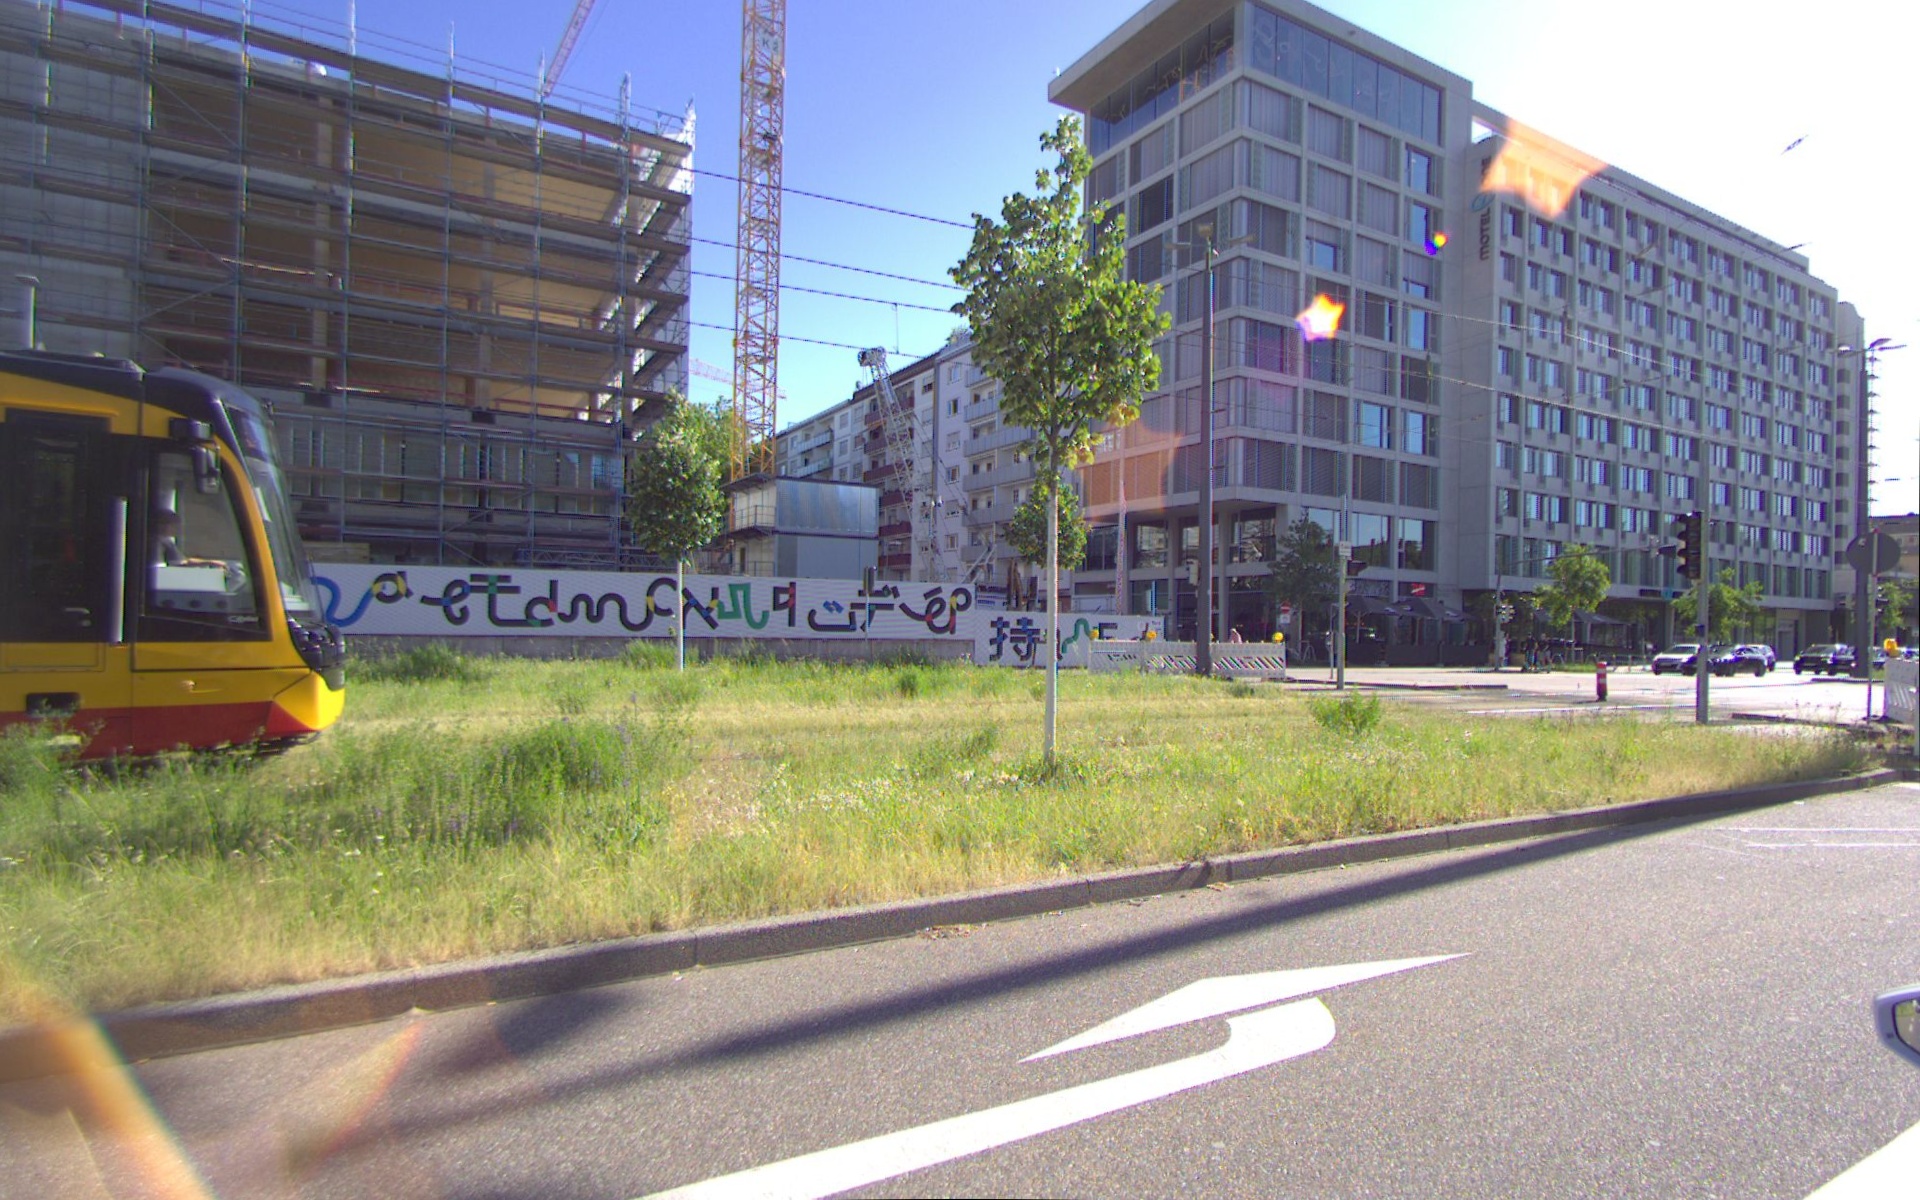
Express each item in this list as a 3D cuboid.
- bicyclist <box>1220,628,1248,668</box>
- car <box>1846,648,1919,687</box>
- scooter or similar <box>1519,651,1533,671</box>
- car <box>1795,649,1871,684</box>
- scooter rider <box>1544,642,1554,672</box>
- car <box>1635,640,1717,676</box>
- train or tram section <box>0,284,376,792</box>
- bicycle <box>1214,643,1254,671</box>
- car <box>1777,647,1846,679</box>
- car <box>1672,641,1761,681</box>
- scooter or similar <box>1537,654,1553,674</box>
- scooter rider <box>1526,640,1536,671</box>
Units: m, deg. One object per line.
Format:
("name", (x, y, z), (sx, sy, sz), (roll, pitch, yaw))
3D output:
("bicyclist", (11.433, 1.995, 41.889), (0.881, 1.601, 0.591), (2, 0, -26))
("car", (42.696, 3.062, 46.087), (4.284, 1.673, 1.782), (2, -2, -30))
("scooter or similar", (27.008, 2.920, 47.892), (0.758, 0.960, 0.227), (2, -1, -30))
("car", (44.965, 3.395, 51.716), (3.953, 1.673, 1.782), (2, -2, -30))
("scooter rider", (28.891, 2.799, 49.251), (0.236, 1.472, 0.341), (2, -1, -29))
("car", (35.159, 2.823, 49.314), (3.953, 1.673, 1.782), (2, -2, -30))
("train or tram section", (-11.282, -0.564, 6.592), (12.628, 3.686, 2.805), (2, -1, -28))
("bicycle", (11.433, 2.375, 41.905), (1.601, 1.115, 0.584), (3, 0, -27))
("car", (48.130, 3.535, 56.777), (3.953, 1.673, 1.782), (2, -2, -30))
("car", (33.876, 2.718, 44.967), (3.953, 1.673, 1.782), (2, -2, -30))
("scooter or similar", (28.736, 3.130, 49.362), (0.756, 0.960, 0.285), (2, -1, -24))
("scooter rider", (27.145, 2.648, 47.781), (0.236, 1.472, 0.341), (2, -1, -29))
